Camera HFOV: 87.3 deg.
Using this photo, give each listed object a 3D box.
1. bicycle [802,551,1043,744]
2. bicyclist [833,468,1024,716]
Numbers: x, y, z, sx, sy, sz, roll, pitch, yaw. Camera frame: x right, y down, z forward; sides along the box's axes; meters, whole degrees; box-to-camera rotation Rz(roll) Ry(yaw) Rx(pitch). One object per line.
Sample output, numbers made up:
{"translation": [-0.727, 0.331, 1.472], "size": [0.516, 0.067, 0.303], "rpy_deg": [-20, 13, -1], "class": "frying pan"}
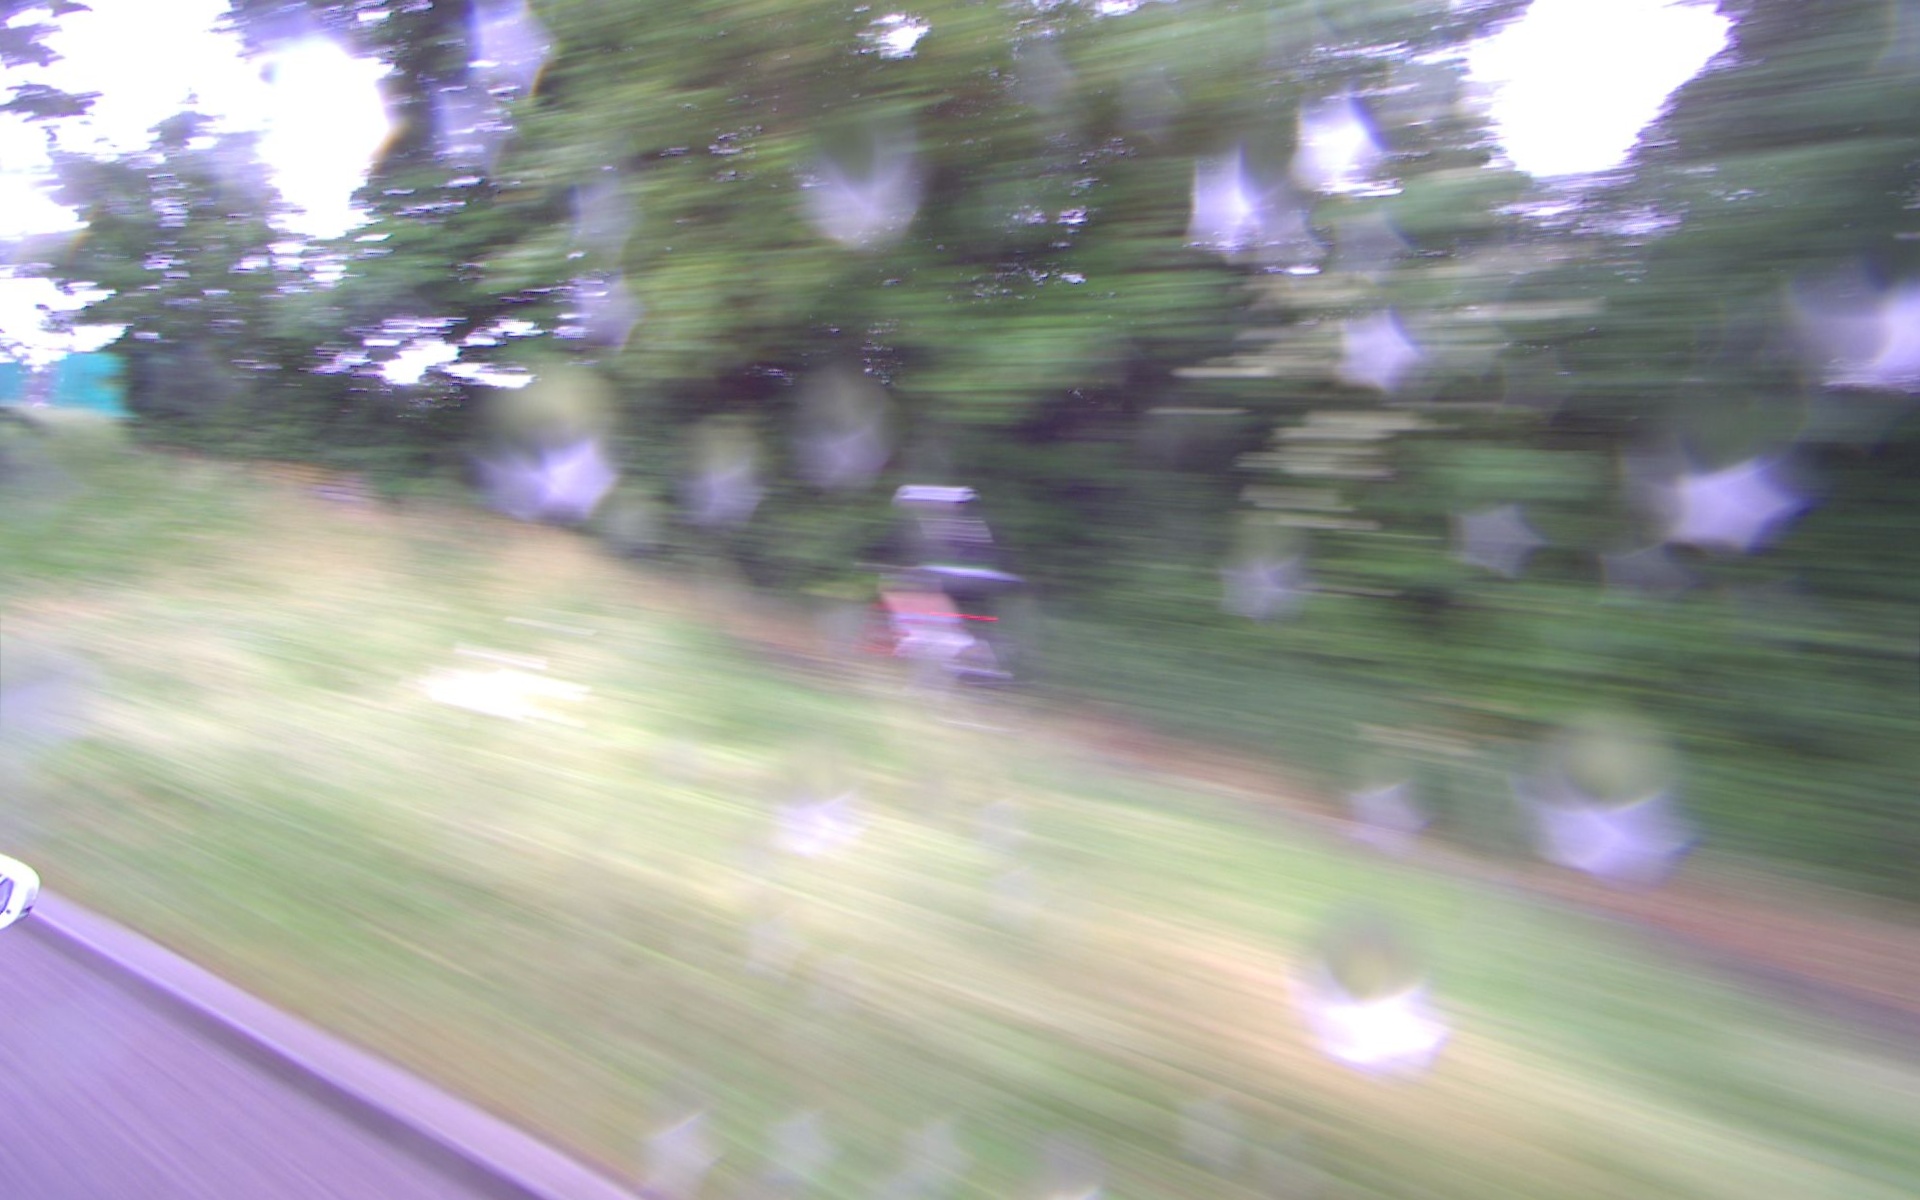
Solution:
{"translation": [-0.302, 0.331, 7.502], "size": [1.593, 1.098, 0.528], "rpy_deg": [11, 2, 30], "class": "bicycle"}
{"translation": [-0.224, -0.048, 7.464], "size": [0.890, 1.634, 0.722], "rpy_deg": [12, 2, 29], "class": "bicyclist"}
